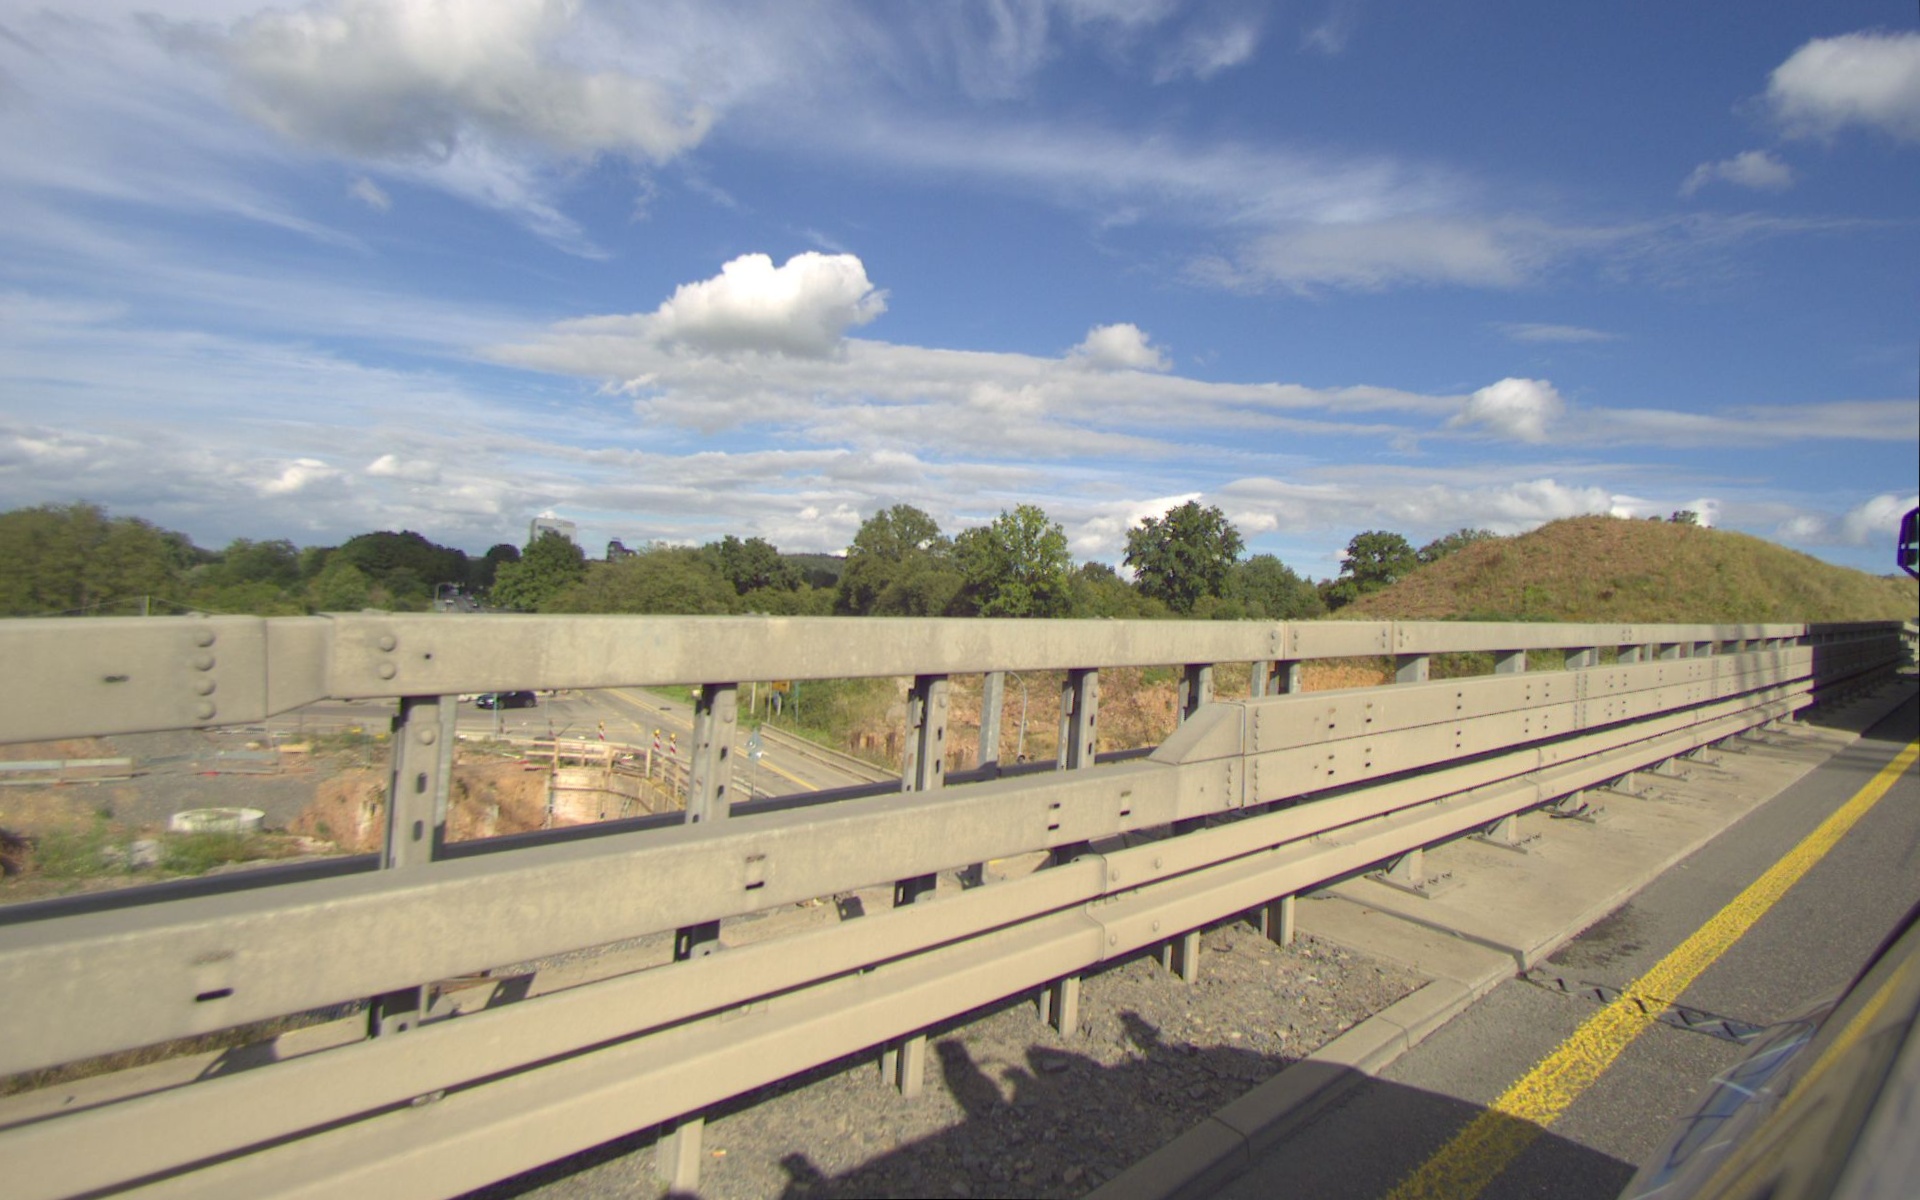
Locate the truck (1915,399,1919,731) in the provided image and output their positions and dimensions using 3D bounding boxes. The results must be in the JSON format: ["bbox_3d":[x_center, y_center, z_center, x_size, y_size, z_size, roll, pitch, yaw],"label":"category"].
[{"bbox_3d":[15.854,-0.420,14.326,10.142,3.896,2.660,0,0,-43],"label":"truck"}]
